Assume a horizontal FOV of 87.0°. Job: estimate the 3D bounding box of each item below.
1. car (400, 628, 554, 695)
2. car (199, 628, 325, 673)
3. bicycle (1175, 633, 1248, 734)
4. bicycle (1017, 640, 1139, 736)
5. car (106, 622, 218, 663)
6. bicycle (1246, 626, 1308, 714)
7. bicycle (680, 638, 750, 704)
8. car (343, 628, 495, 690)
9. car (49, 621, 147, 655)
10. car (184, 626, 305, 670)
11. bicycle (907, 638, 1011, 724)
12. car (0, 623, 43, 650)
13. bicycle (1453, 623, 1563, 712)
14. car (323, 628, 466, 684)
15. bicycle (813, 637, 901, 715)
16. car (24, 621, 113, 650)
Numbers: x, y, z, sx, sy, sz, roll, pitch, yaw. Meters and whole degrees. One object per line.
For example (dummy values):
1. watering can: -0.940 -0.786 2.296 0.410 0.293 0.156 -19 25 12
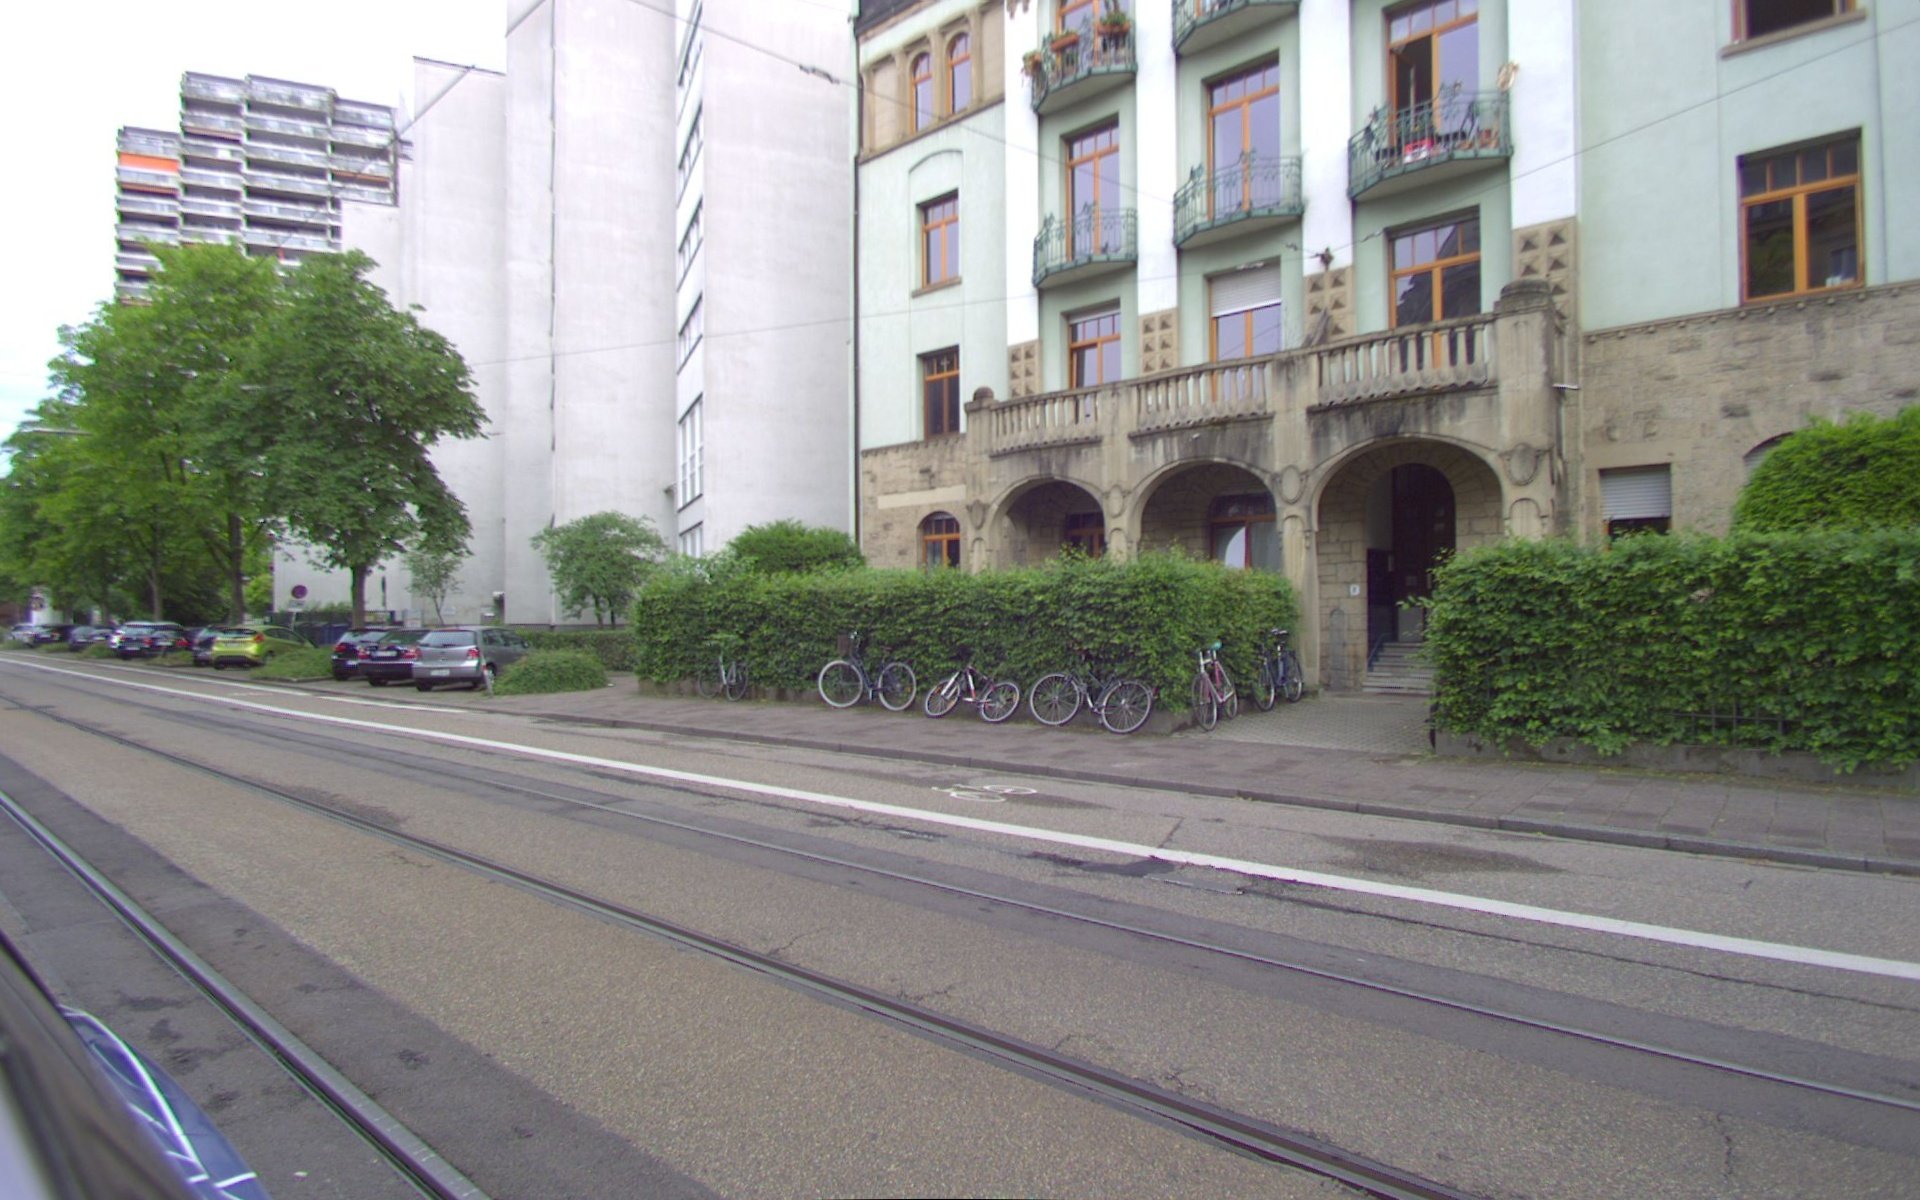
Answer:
1. car: -11.226 1.384 23.843 1.672 1.413 3.998 0 -1 1
2. car: -23.548 1.663 34.339 1.670 1.405 4.002 0 -1 -3
3. bicycle: 3.044 0.978 12.195 0.300 1.091 1.190 -2 1 42
4. bicycle: 1.414 1.041 12.329 1.546 1.092 0.356 -2 -2 41
5. car: -33.379 1.758 42.488 1.670 1.632 4.002 0 -1 -3
6. bicycle: 4.302 0.922 13.682 0.300 1.091 1.190 -2 1 42
7. bicycle: -4.224 1.201 17.404 1.546 1.092 0.356 -2 -2 41
8. car: -13.512 1.433 25.563 1.672 1.413 3.998 0 -1 1
9. car: -43.887 1.906 51.640 1.670 1.632 4.002 0 -1 -3
10. car: -25.702 1.689 36.511 1.670 1.453 4.002 0 -1 -3
11. bicycle: -0.036 1.065 13.658 1.546 1.092 0.356 -2 -2 41
12. car: -59.297 2.272 63.754 3.996 1.632 1.673 -1 -2 39
13. bicycle: 7.054 0.852 13.047 1.203 1.091 0.297 -2 0 35
14. car: -15.511 1.485 28.007 1.672 1.413 3.998 0 -1 1
15. bicycle: -1.554 1.108 15.075 1.546 1.092 0.356 -2 -2 41
16. car: -50.837 2.008 57.824 1.670 1.632 4.002 0 -1 -3
